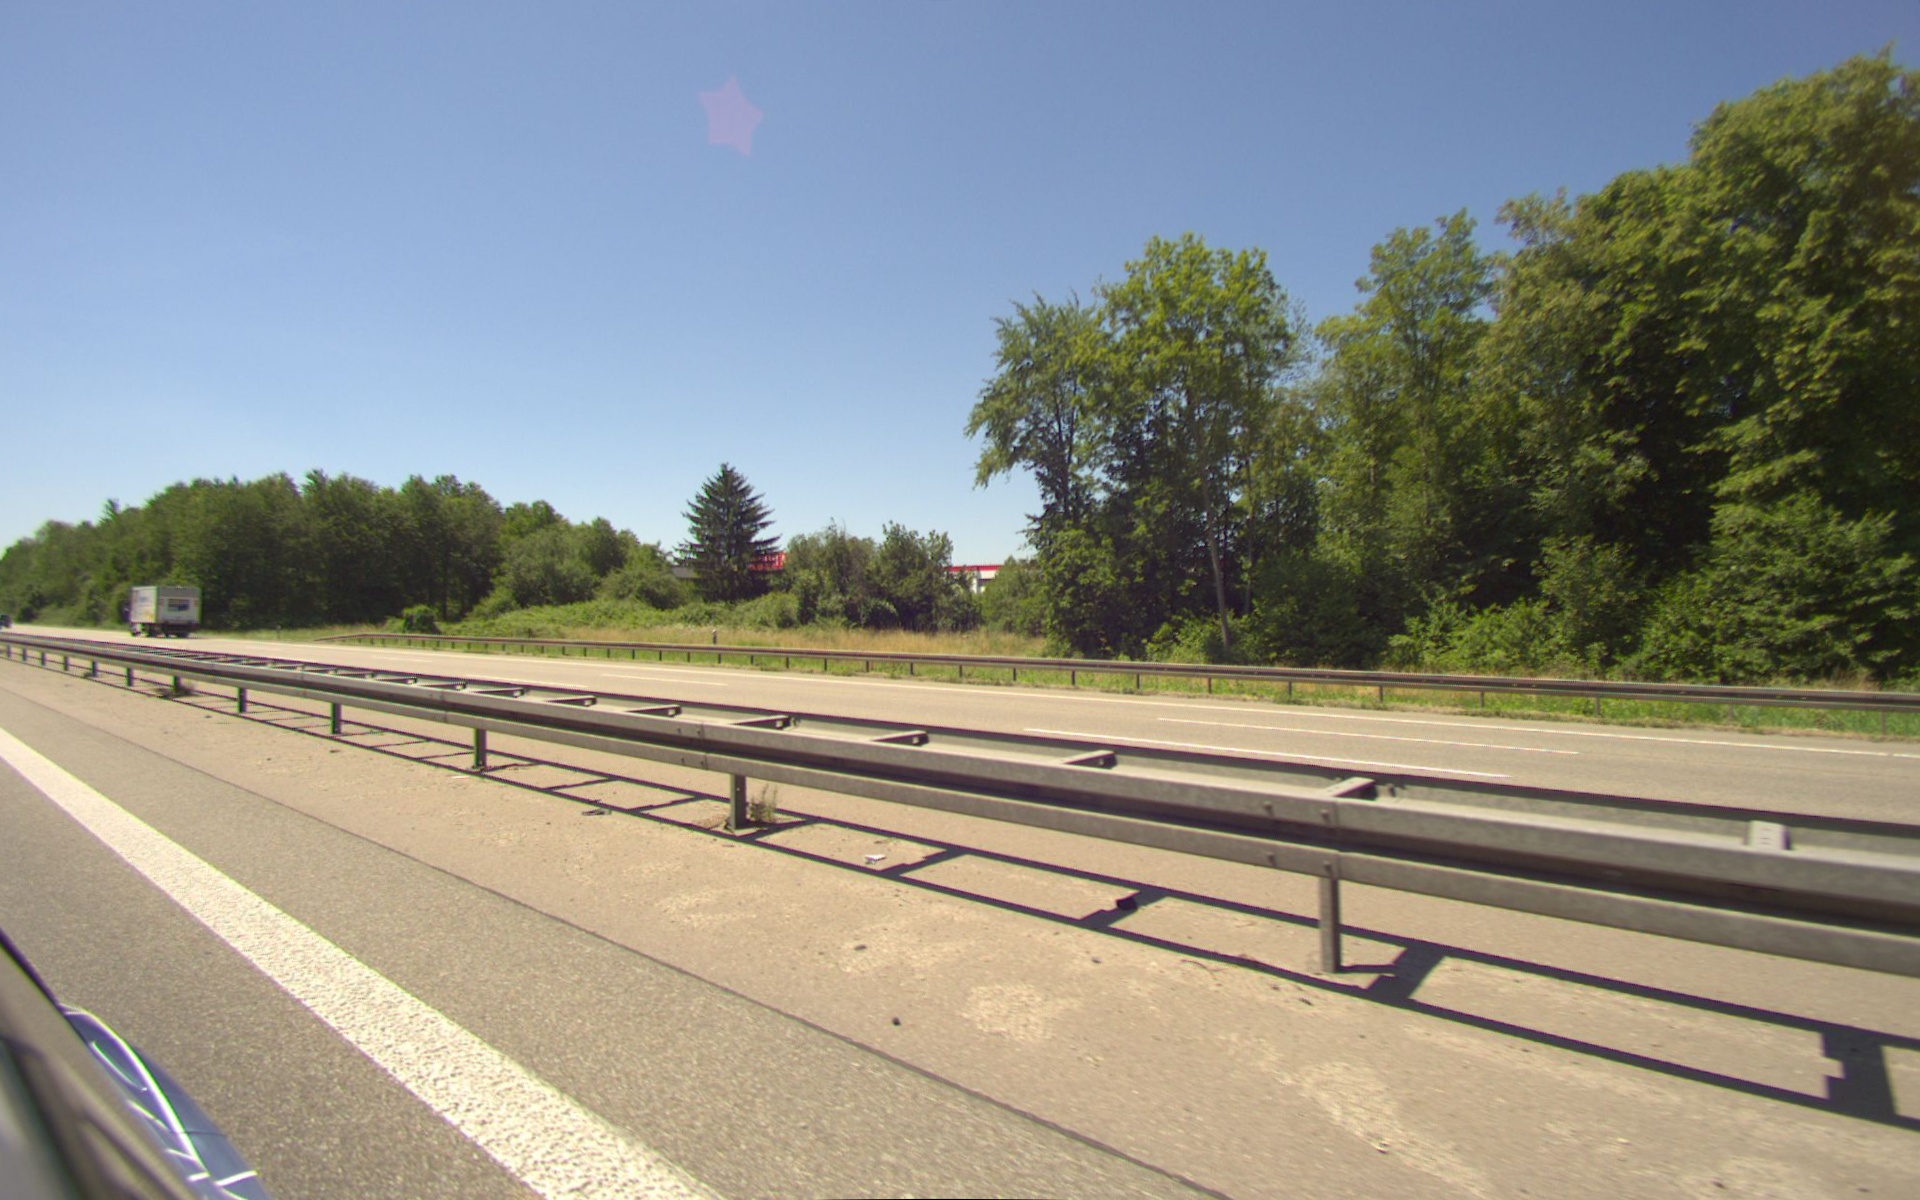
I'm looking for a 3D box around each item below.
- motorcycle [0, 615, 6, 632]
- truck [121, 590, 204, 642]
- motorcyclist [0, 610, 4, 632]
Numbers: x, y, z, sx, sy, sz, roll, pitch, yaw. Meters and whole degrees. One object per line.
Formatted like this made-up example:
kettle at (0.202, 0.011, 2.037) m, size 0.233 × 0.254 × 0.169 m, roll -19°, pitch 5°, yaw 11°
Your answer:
motorcycle at (-72.344, 1.769, 75.796) m, size 2.576 × 1.277 × 1.024 m, roll -1°, pitch 0°, yaw 41°
truck at (-58.746, 1.134, 74.409) m, size 10.265 × 3.646 × 2.963 m, roll -1°, pitch 0°, yaw 41°
motorcyclist at (-72.283, 1.596, 75.726) m, size 1.151 × 1.611 × 1.030 m, roll -1°, pitch 0°, yaw 41°
